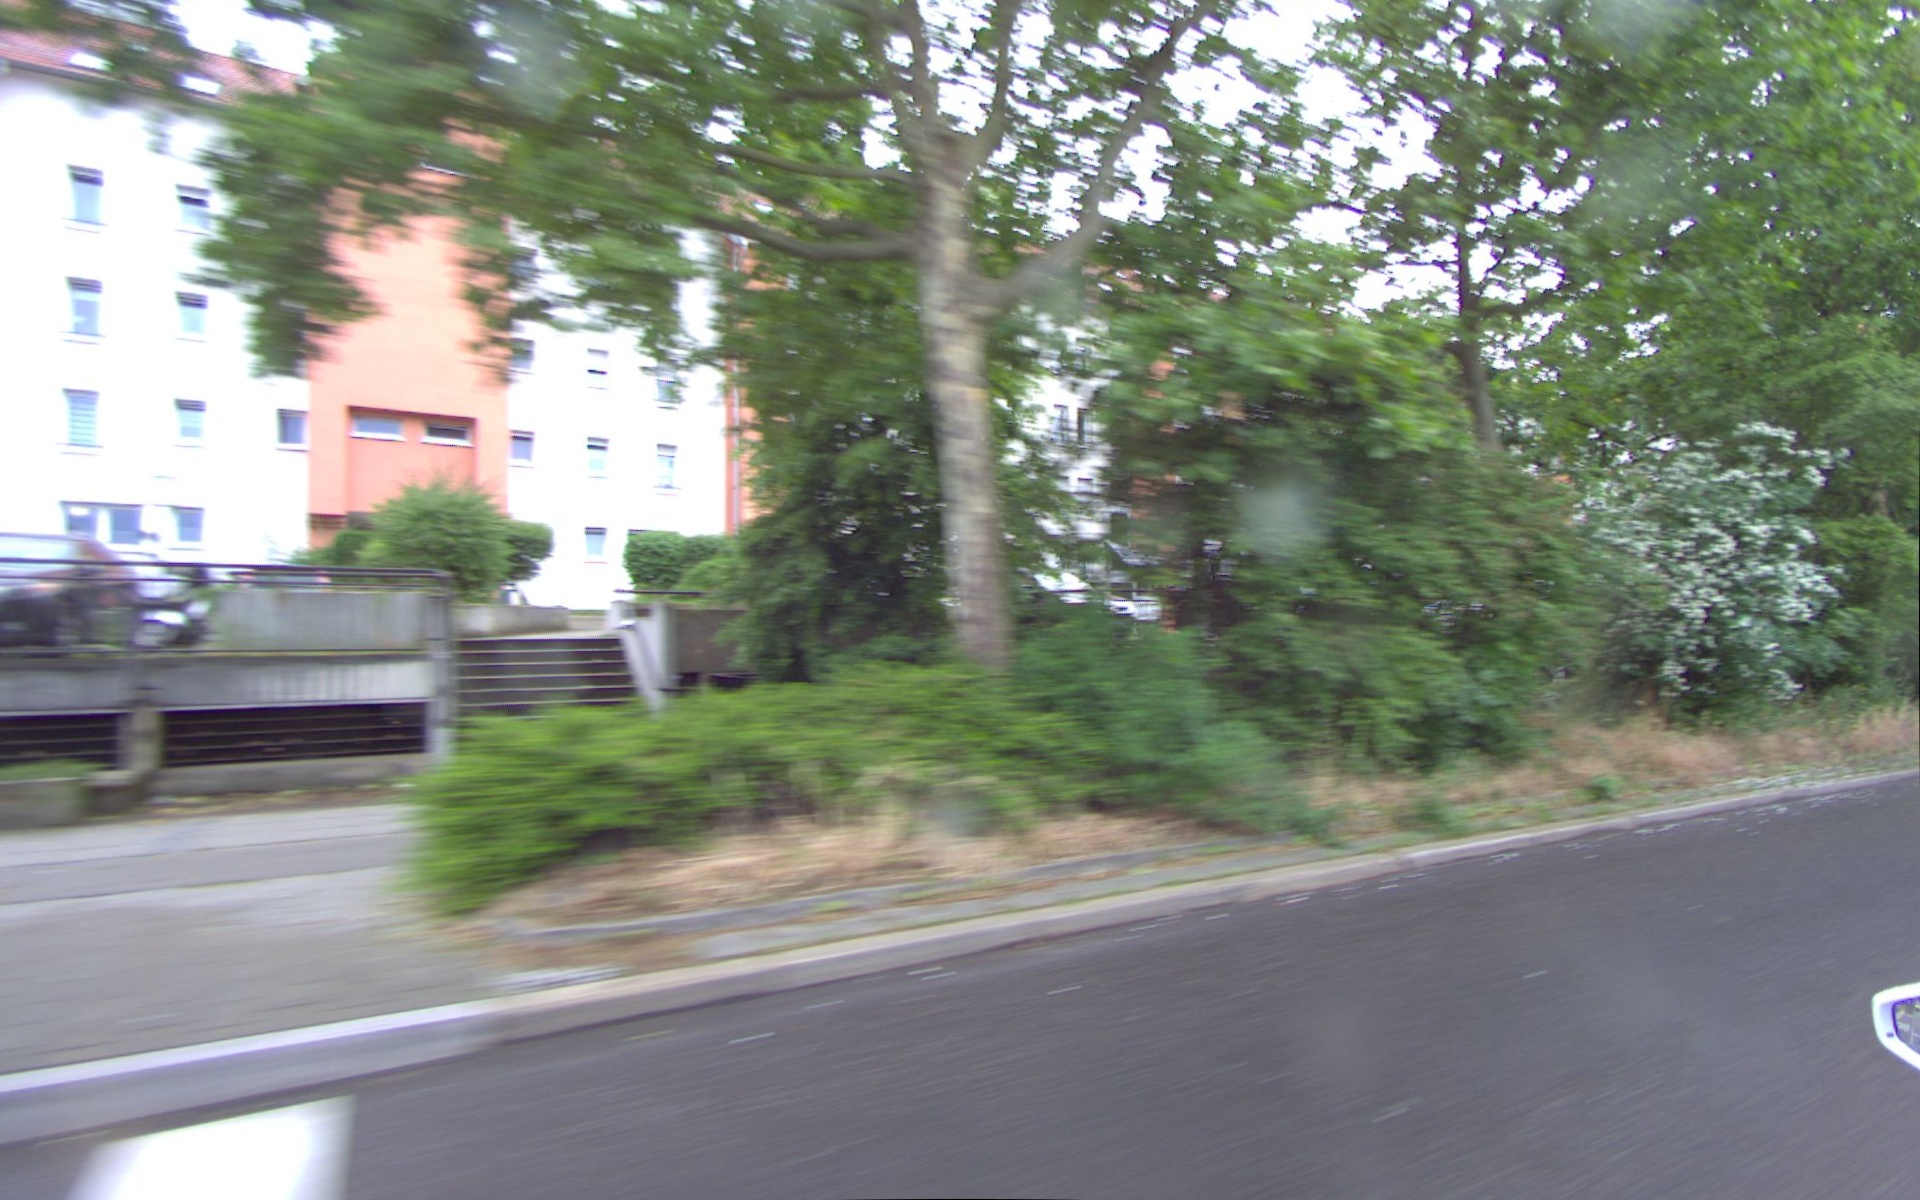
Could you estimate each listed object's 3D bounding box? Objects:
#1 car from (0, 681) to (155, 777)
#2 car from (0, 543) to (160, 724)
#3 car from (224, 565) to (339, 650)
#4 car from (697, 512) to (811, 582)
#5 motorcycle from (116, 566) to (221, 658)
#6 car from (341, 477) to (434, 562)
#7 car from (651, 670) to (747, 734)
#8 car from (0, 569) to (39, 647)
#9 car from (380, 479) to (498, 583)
[{"bbox_3d":[-16.700,2.352,18.951,1.697,1.422,3.504,1,-2,-28],"label":"car"},{"bbox_3d":[-10.550,0.292,11.092,1.977,1.694,4.522,3,-2,-30],"label":"car"},{"bbox_3d":[-13.787,0.168,20.580,1.699,1.531,3.790,3,-2,-31],"label":"car"},{"bbox_3d":[-5.038,-1.212,24.249,1.526,1.412,3.579,3,-2,-31],"label":"car"},{"bbox_3d":[-8.736,0.132,11.155,0.562,0.925,1.943,3,-2,-29],"label":"motorcycle"},{"bbox_3d":[-13.463,-1.791,23.559,1.699,1.531,3.790,3,-2,-31],"label":"car"},{"bbox_3d":[-7.179,2.742,27.389,1.526,1.412,3.579,3,-2,-31],"label":"car"},{"bbox_3d":[-18.342,0.132,18.091,1.697,1.407,3.504,1,-2,-28],"label":"car"},{"bbox_3d":[-10.095,-1.227,19.335,1.699,1.622,3.790,3,-2,-31],"label":"car"}]
